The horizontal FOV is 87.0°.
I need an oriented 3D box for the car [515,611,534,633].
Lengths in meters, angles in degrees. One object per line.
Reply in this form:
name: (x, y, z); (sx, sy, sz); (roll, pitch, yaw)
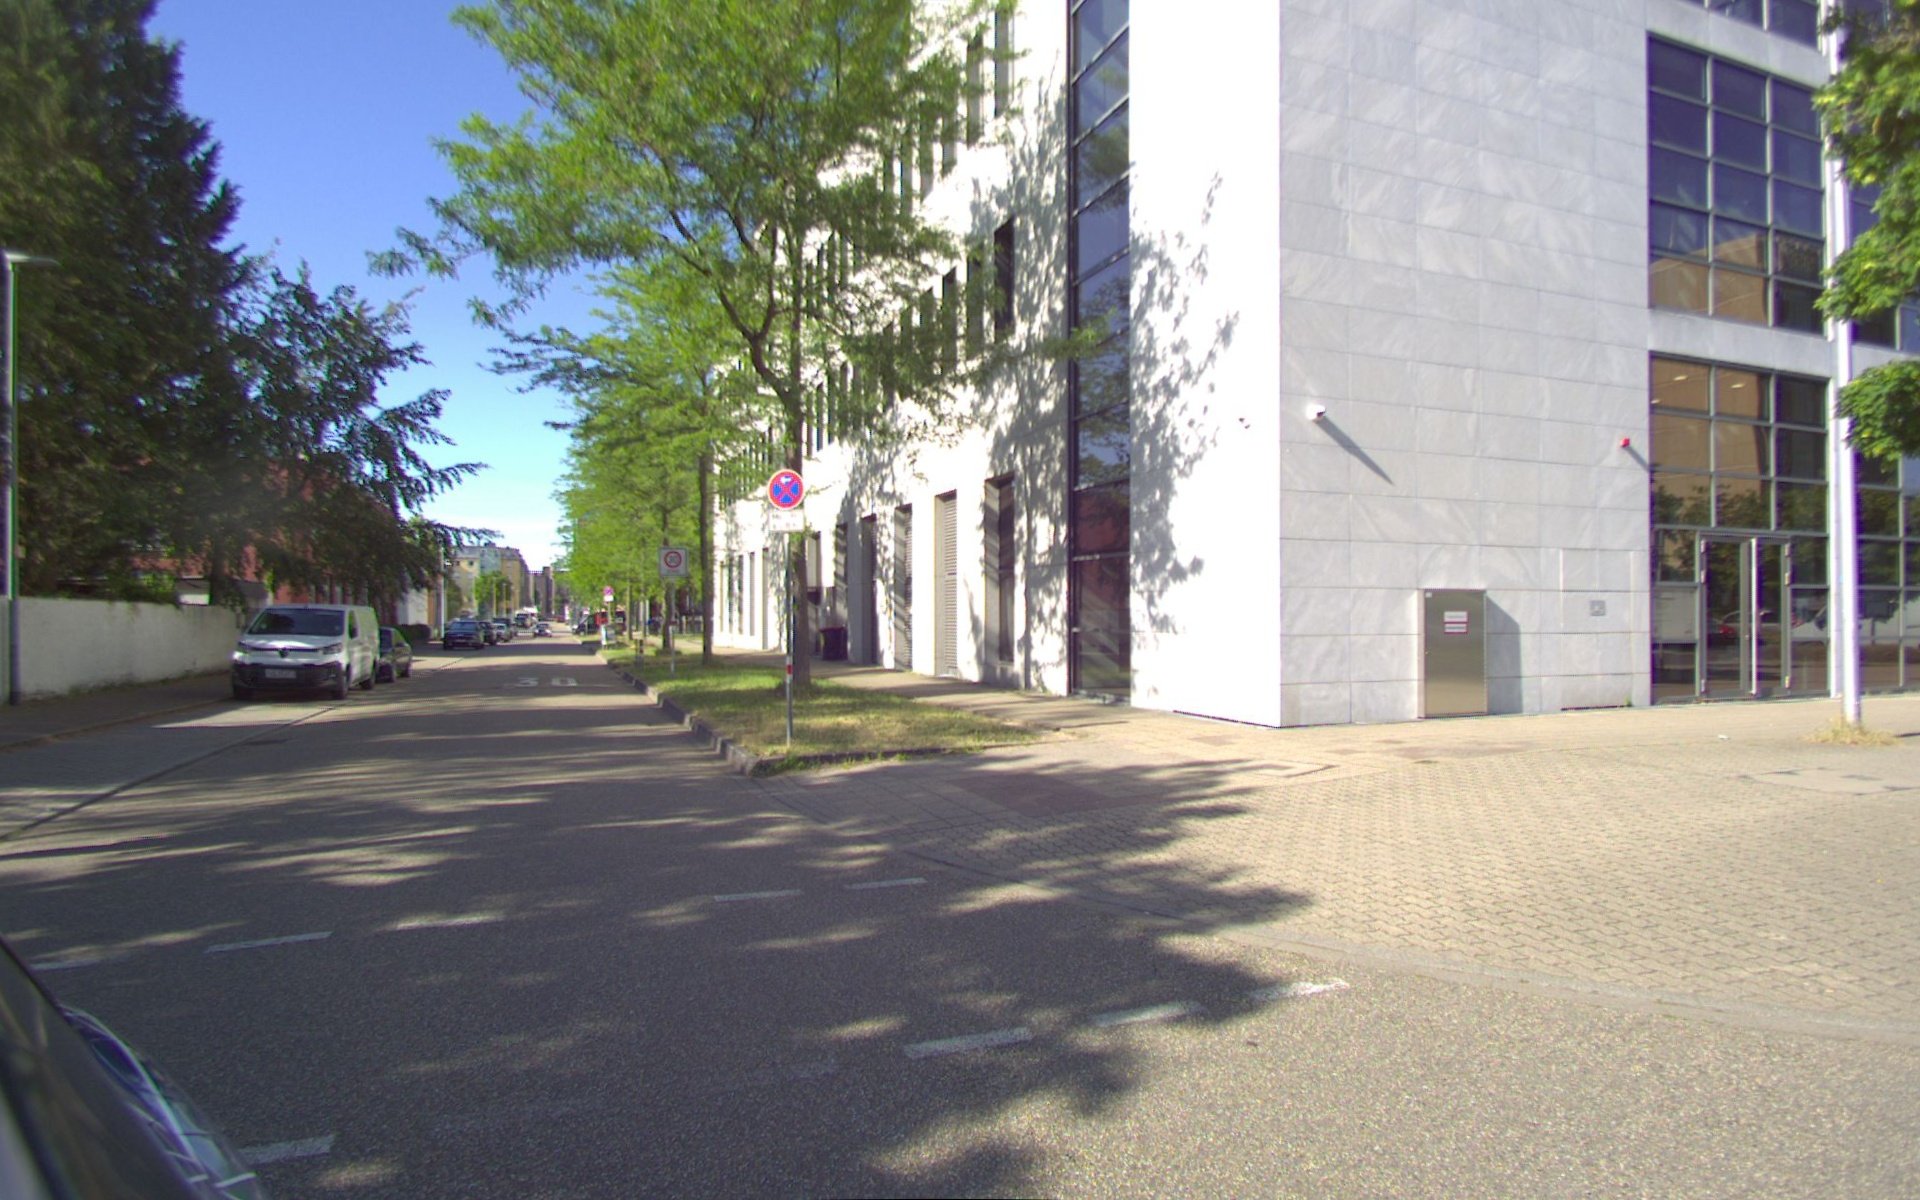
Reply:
car: (-82.008, 4.183, 190.649); (2.865, 3.973, 6.345); (1, -2, -20)

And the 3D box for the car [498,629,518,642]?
car: (-49.553, 3.876, 111.023); (1.747, 1.299, 4.108); (1, -2, -21)

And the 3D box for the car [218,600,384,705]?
car: (-13.676, 1.038, 21.355); (1.872, 1.929, 5.164); (1, -2, -21)

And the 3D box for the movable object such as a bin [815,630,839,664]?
movable object such as a bin: (-4.130, 1.451, 31.458); (0.584, 1.048, 0.545); (-1, -1, -23)

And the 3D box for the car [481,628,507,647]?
car: (-37.512, 3.023, 81.534); (1.671, 1.467, 3.902); (1, -2, -21)

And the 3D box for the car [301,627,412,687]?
car: (-15.809, 1.435, 26.720); (1.800, 1.434, 4.297); (1, -2, -21)

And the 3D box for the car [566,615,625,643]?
car: (-36.842, 2.873, 102.355); (5.398, 2.560, 1.993); (-2, -1, -22)

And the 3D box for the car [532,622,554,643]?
car: (-41.436, 3.224, 100.543); (1.872, 2.000, 4.386); (1, -2, -21)

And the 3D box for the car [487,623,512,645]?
car: (-43.783, 3.229, 96.277); (1.872, 2.000, 4.386); (1, -2, -21)

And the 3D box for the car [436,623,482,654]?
car: (-28.201, 2.141, 57.063); (1.872, 1.642, 4.386); (1, -2, -21)

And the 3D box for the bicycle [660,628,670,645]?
bicycle: (-22.387, 2.752, 76.821); (0.592, 1.201, 1.733); (-1, -1, -21)

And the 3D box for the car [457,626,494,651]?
car: (-32.441, 2.563, 67.872); (1.847, 1.642, 4.421); (1, -2, -21)

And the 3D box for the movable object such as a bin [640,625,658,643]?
movable object such as a bin: (-27.401, 2.970, 89.148); (1.498, 1.580, 1.350); (-1, -1, -17)

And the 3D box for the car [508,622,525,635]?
car: (-59.223, 3.788, 135.109); (1.872, 1.607, 4.386); (1, -2, -21)
